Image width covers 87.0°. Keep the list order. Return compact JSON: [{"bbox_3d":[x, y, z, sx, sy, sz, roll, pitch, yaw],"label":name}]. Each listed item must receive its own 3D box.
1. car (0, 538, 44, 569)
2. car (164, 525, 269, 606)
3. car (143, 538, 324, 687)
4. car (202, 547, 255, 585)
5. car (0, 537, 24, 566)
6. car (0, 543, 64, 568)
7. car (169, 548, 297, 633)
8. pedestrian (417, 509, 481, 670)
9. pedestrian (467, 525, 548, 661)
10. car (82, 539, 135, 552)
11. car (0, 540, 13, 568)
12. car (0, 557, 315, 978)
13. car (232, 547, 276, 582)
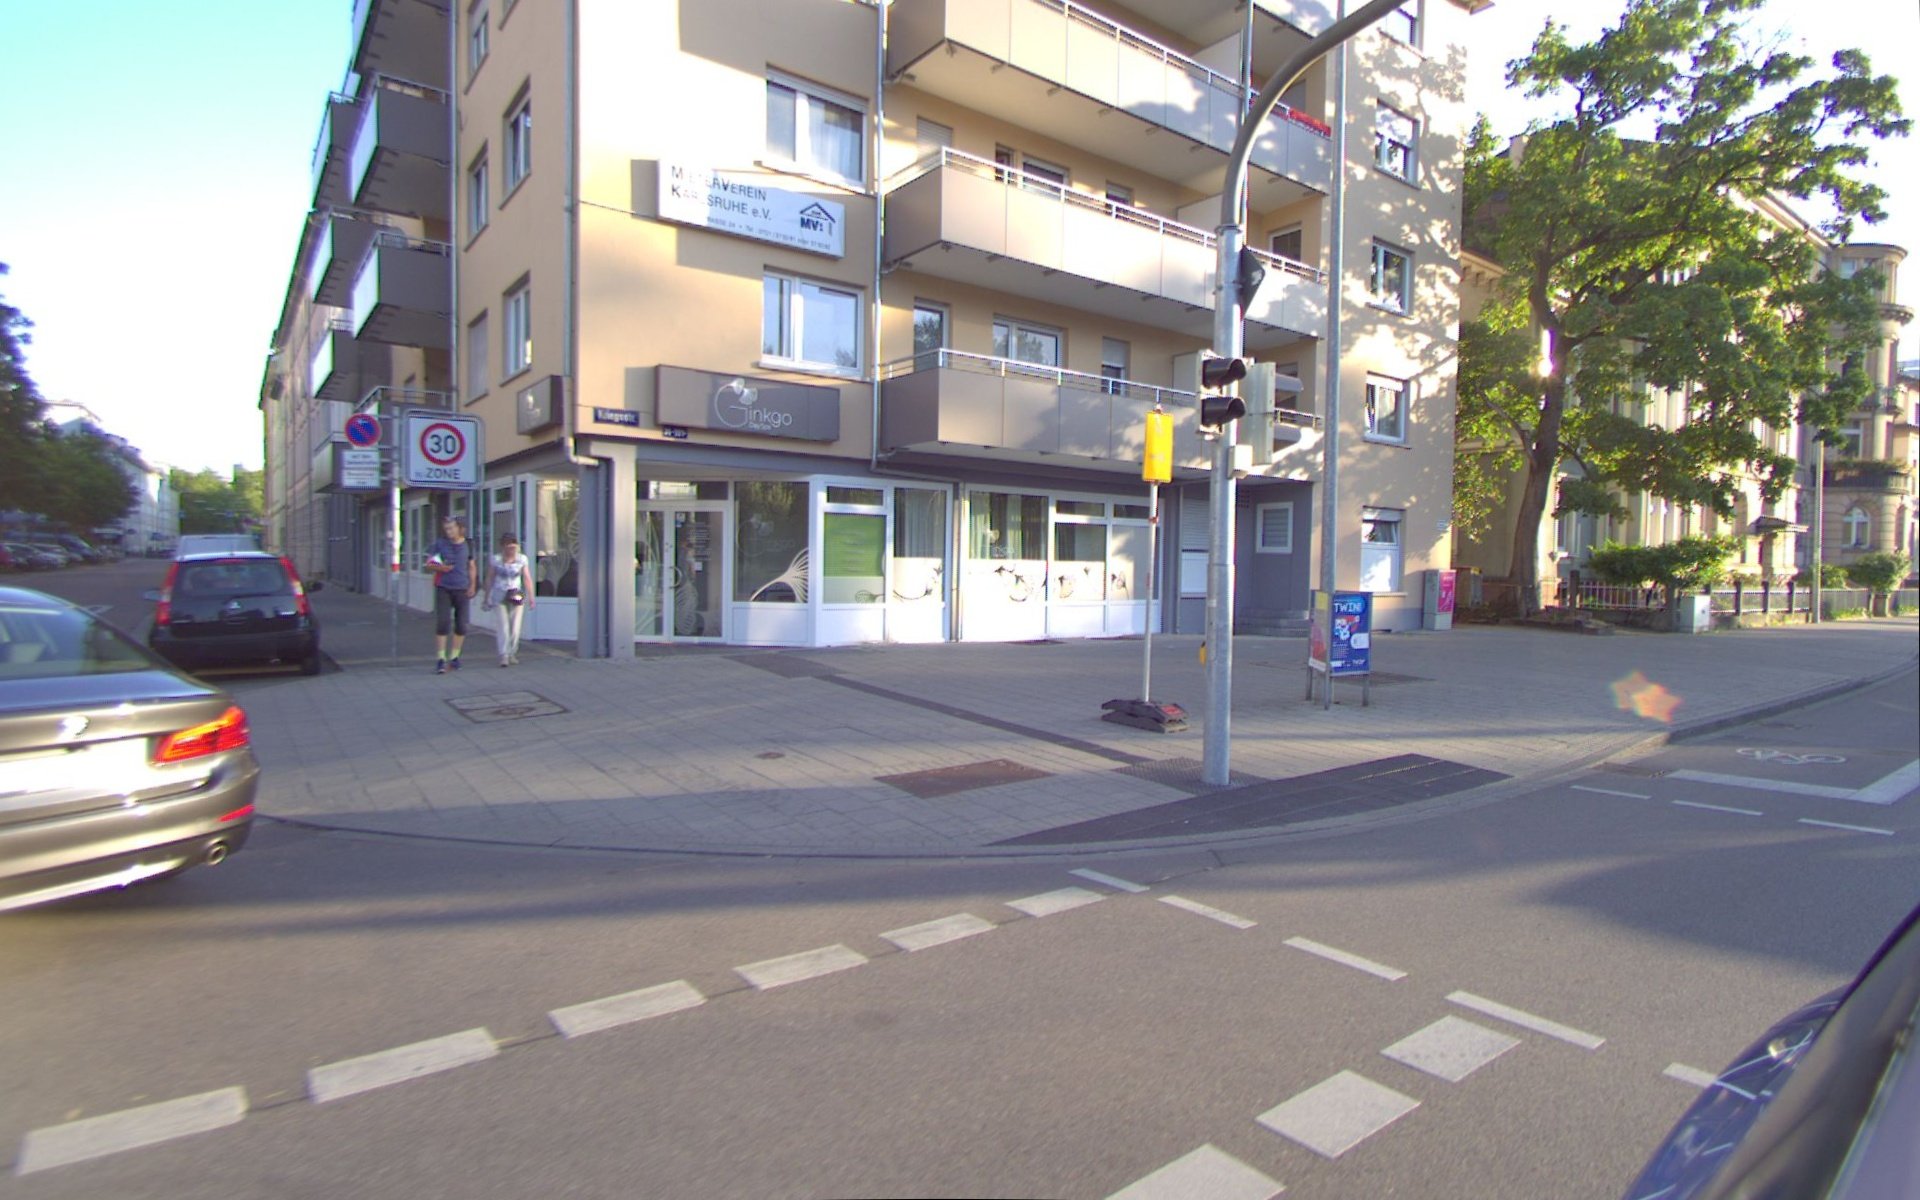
[{"bbox_3d":[-51.709,-2.490,54.294,3.711,1.623,1.443,-1,0,-38],"label":"car"},{"bbox_3d":[-19.786,-0.983,26.890,1.965,1.886,4.538,-6,6,-37],"label":"car"},{"bbox_3d":[-9.410,0.023,13.153,1.586,1.578,3.816,-5,5,-36],"label":"car"},{"bbox_3d":[-37.949,-1.709,52.526,2.119,1.851,4.780,-1,1,-36],"label":"car"},{"bbox_3d":[-50.436,-2.496,51.898,3.472,1.479,1.443,-1,0,-38],"label":"car"},{"bbox_3d":[-57.021,-2.688,61.743,3.442,1.473,1.443,-1,0,-38],"label":"car"},{"bbox_3d":[-14.602,-0.276,20.239,1.629,1.457,4.222,-5,6,-41],"label":"car"},{"bbox_3d":[-6.244,-0.146,12.351,0.534,1.882,0.840,-2,3,-36],"label":"pedestrian"},{"bbox_3d":[-5.697,-0.112,12.729,0.752,1.634,0.822,-2,3,-36],"label":"pedestrian"},{"bbox_3d":[-105.862,-6.758,125.875,4.817,1.542,2.034,-1,0,-34],"label":"car"},{"bbox_3d":[-49.097,-2.268,49.828,3.472,1.338,1.443,-1,0,-38],"label":"car"},{"bbox_3d":[-5.457,0.520,4.708,4.567,1.488,1.794,2,1,21],"label":"car"},{"bbox_3d":[-40.715,-1.993,58.307,1.996,1.851,4.780,-1,0,-36],"label":"car"}]
